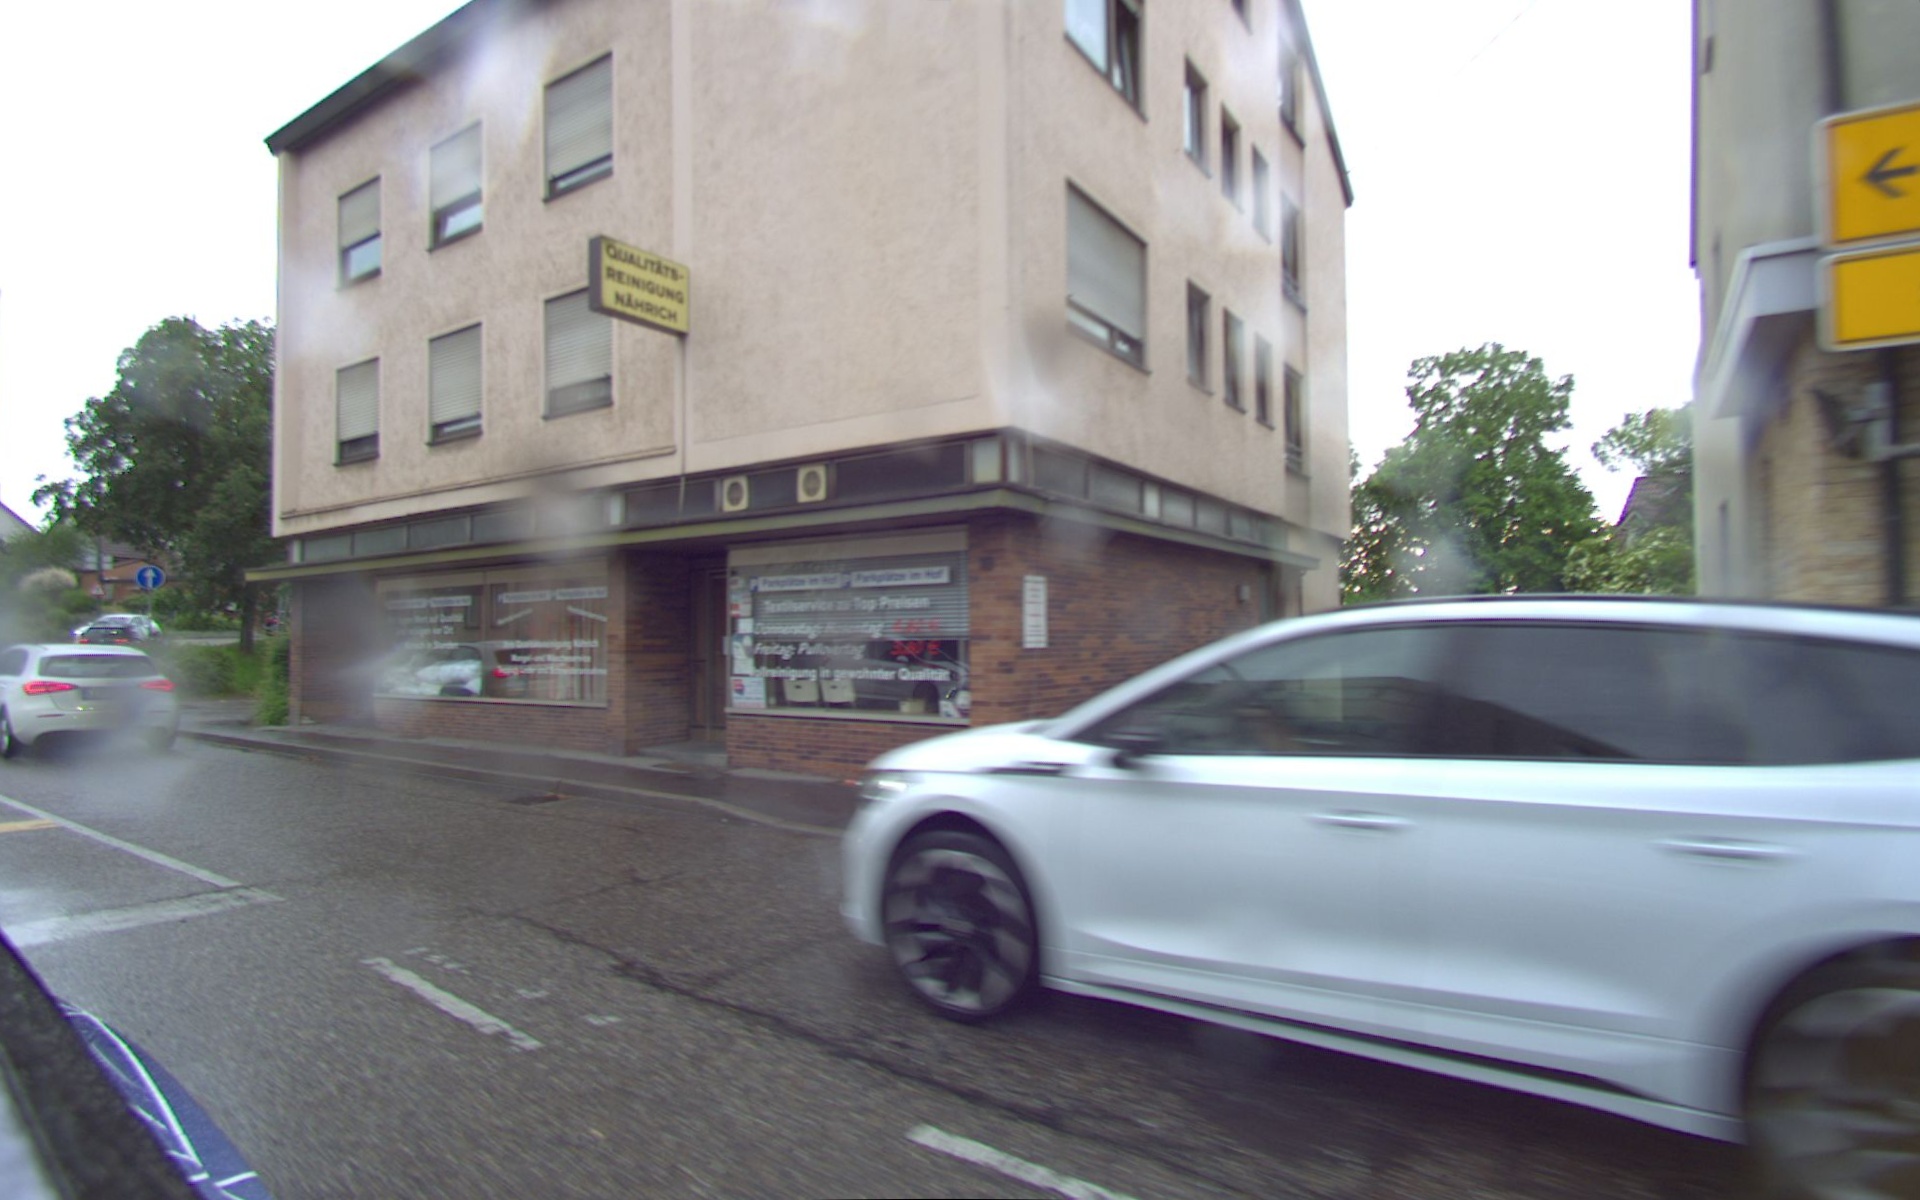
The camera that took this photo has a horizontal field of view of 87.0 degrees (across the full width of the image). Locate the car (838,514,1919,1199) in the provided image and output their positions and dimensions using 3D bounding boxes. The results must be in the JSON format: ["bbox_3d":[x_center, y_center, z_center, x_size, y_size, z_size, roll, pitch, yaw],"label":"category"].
[{"bbox_3d":[1.792,0.669,3.559,4.325,1.572,1.770,-3,-4,34],"label":"car"}]

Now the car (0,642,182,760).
[{"bbox_3d":[-12.373,1.318,13.829,4.105,1.383,1.675,-3,-5,37],"label":"car"}]

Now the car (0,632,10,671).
[{"bbox_3d":[-33.543,1.785,33.509,1.760,1.357,4.960,-1,-1,-27],"label":"car"}]

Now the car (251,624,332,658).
[{"bbox_3d":[-35.652,2.149,54.109,1.869,1.607,4.364,3,-1,-9],"label":"car"}]

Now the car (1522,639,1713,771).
[{"bbox_3d":[8.703,1.404,13.476,1.799,1.461,3.954,-3,-7,33],"label":"car"}]

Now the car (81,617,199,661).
[{"bbox_3d":[-38.476,1.900,47.685,1.872,1.672,4.950,0,-7,-6],"label":"car"}]

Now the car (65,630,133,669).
[{"bbox_3d":[-32.380,1.849,38.126,1.747,1.413,3.926,3,-3,-38],"label":"car"}]
